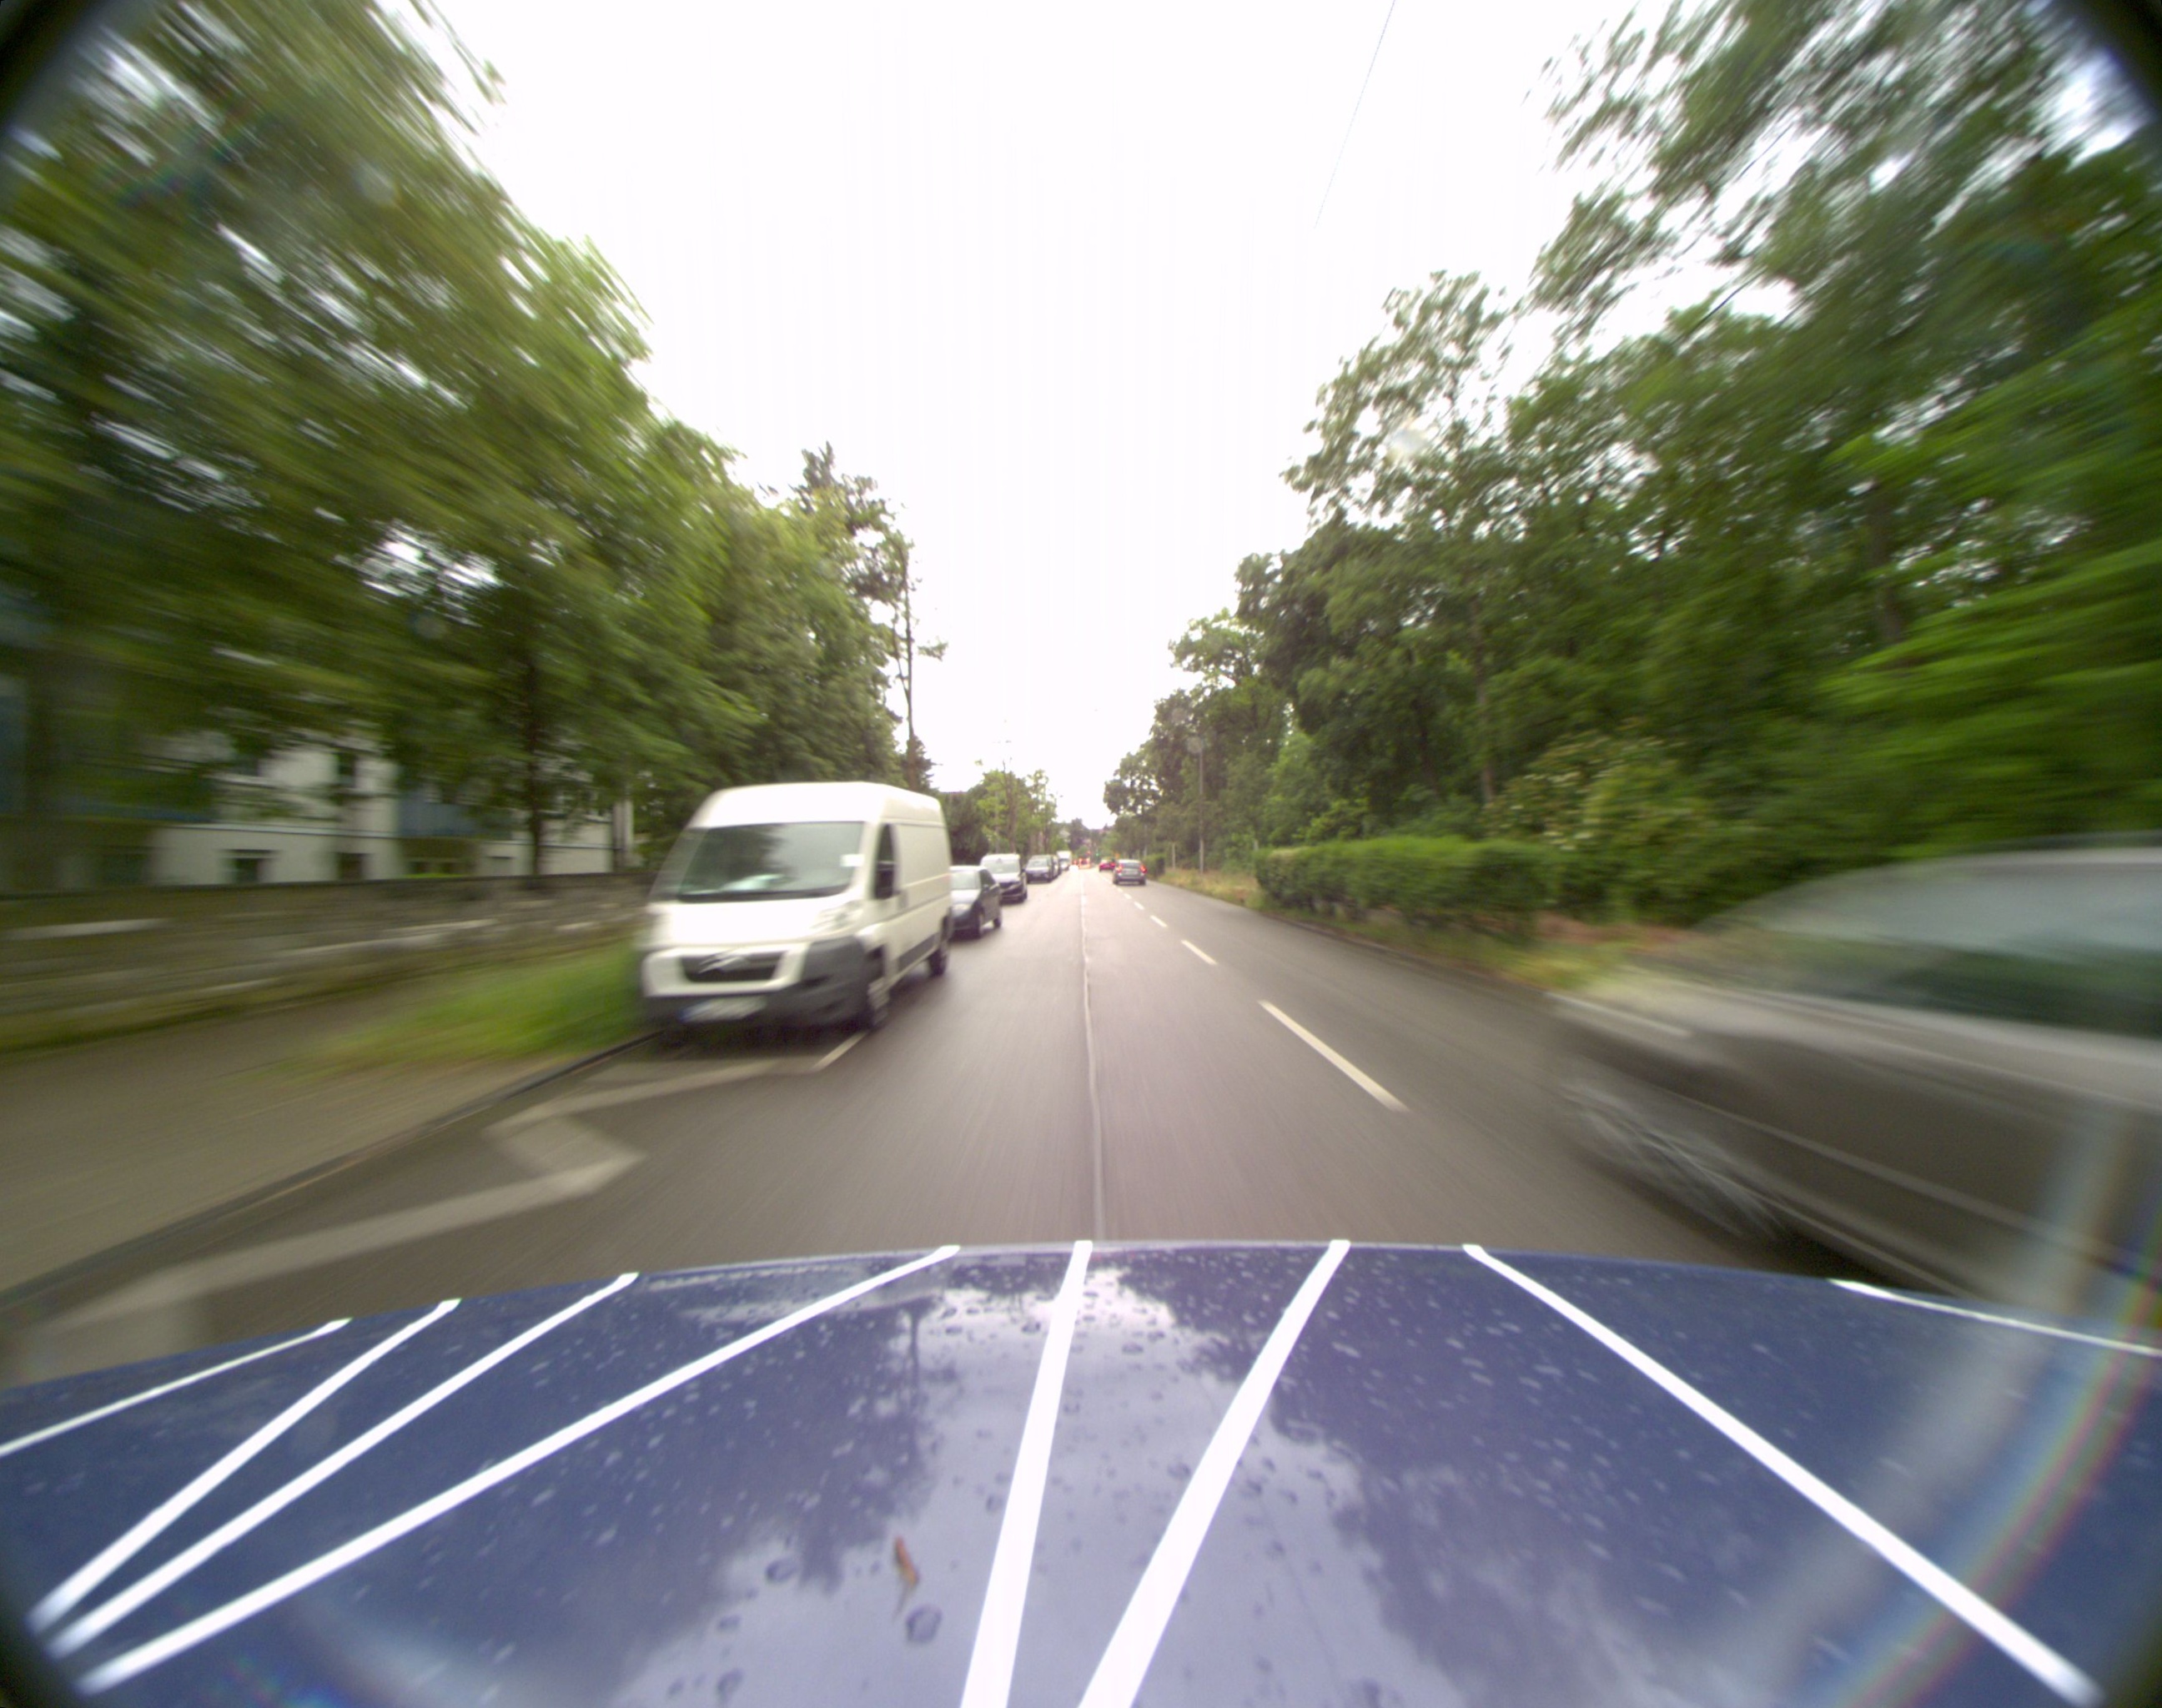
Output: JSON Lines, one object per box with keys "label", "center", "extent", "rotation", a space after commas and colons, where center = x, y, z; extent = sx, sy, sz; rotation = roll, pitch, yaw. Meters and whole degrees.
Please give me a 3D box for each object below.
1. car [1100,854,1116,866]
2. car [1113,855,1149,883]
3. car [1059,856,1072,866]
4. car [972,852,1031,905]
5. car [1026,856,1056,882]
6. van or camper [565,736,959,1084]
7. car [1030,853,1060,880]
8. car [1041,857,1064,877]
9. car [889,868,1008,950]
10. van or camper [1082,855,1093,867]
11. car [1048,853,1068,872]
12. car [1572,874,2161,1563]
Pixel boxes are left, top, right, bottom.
{"label": "car", "center": [3.315, 0.710, 94.146], "extent": [1.865, 1.471, 4.156], "rotation": [0, 0, 1]}
{"label": "car", "center": [2.865, 0.838, 44.123], "extent": [1.788, 1.471, 3.967], "rotation": [0, 1, 0]}
{"label": "car", "center": [-2.172, 1.007, 107.828], "extent": [1.786, 1.387, 4.000], "rotation": [-2, -1, -1]}
{"label": "car", "center": [-2.956, 0.891, 29.001], "extent": [1.819, 1.802, 4.282], "rotation": [-2, -1, -1]}
{"label": "car", "center": [-2.739, 1.035, 52.994], "extent": [1.778, 1.712, 4.327], "rotation": [-2, -1, 1]}
{"label": "van or camper", "center": [-2.920, 0.469, 8.594], "extent": [2.084, 2.635, 5.346], "rotation": [-2, -1, 0]}
{"label": "car", "center": [-2.759, 0.971, 59.945], "extent": [1.998, 2.001, 4.888], "rotation": [-2, -1, 1]}
{"label": "car", "center": [-2.454, 1.122, 66.068], "extent": [1.809, 1.603, 4.286], "rotation": [-2, -1, 0]}
{"label": "car", "center": [-2.698, 1.083, 16.307], "extent": [1.629, 1.455, 3.809], "rotation": [-2, -1, 3]}
{"label": "van or camper", "center": [1.806, 1.913, 213.989], "extent": [2.863, 3.159, 6.852], "rotation": [-2, -1, 2]}
{"label": "car", "center": [-2.243, 0.834, 75.960], "extent": [1.734, 1.836, 4.230], "rotation": [-2, -1, 0]}
{"label": "car", "center": [3.243, 0.819, 1.684], "extent": [1.734, 1.483, 4.000], "rotation": [0, -1, 0]}
